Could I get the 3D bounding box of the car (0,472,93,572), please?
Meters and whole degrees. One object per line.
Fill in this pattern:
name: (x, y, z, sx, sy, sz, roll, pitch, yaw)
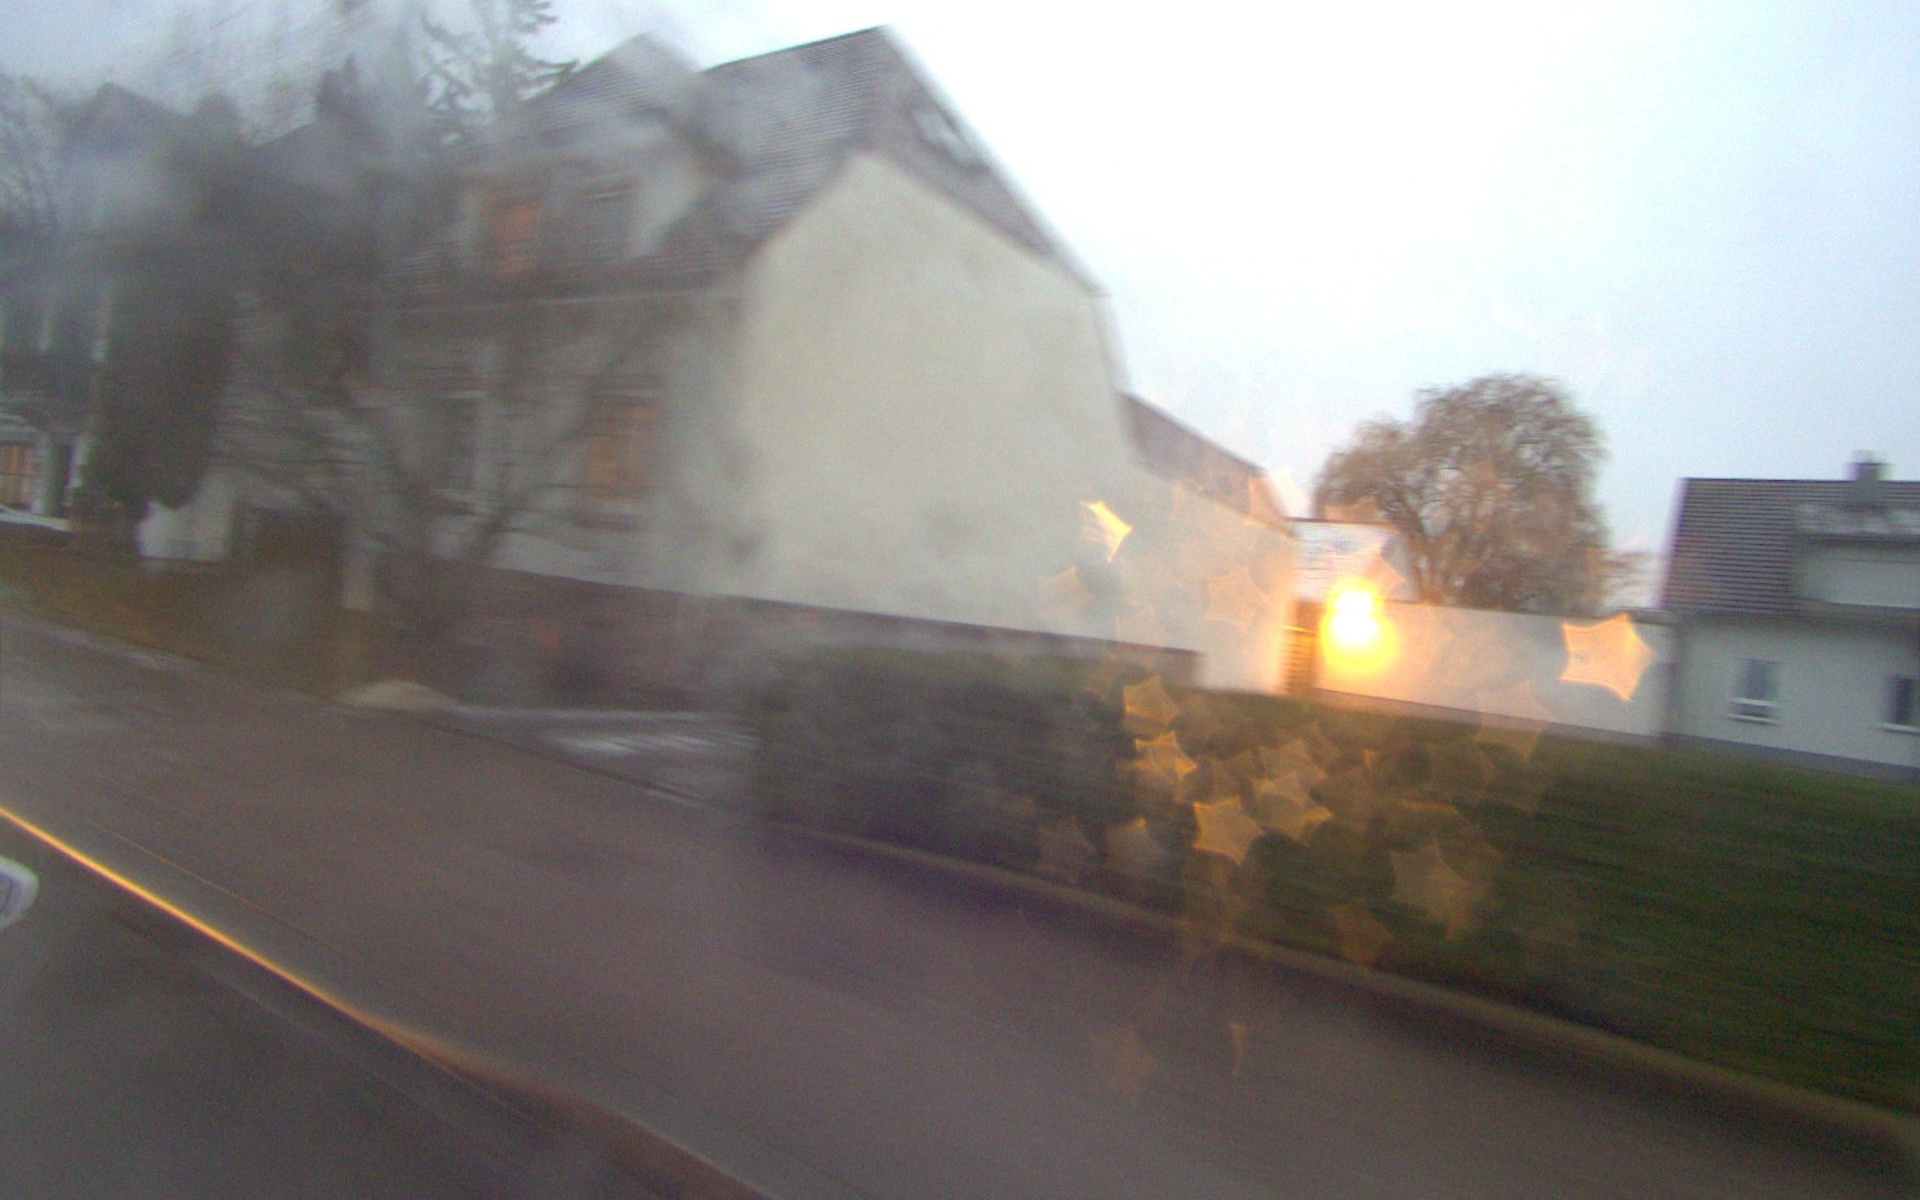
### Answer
car: (-18.427, -1.609, 17.468, 1.878, 1.649, 4.733, 7, 0, 37)
